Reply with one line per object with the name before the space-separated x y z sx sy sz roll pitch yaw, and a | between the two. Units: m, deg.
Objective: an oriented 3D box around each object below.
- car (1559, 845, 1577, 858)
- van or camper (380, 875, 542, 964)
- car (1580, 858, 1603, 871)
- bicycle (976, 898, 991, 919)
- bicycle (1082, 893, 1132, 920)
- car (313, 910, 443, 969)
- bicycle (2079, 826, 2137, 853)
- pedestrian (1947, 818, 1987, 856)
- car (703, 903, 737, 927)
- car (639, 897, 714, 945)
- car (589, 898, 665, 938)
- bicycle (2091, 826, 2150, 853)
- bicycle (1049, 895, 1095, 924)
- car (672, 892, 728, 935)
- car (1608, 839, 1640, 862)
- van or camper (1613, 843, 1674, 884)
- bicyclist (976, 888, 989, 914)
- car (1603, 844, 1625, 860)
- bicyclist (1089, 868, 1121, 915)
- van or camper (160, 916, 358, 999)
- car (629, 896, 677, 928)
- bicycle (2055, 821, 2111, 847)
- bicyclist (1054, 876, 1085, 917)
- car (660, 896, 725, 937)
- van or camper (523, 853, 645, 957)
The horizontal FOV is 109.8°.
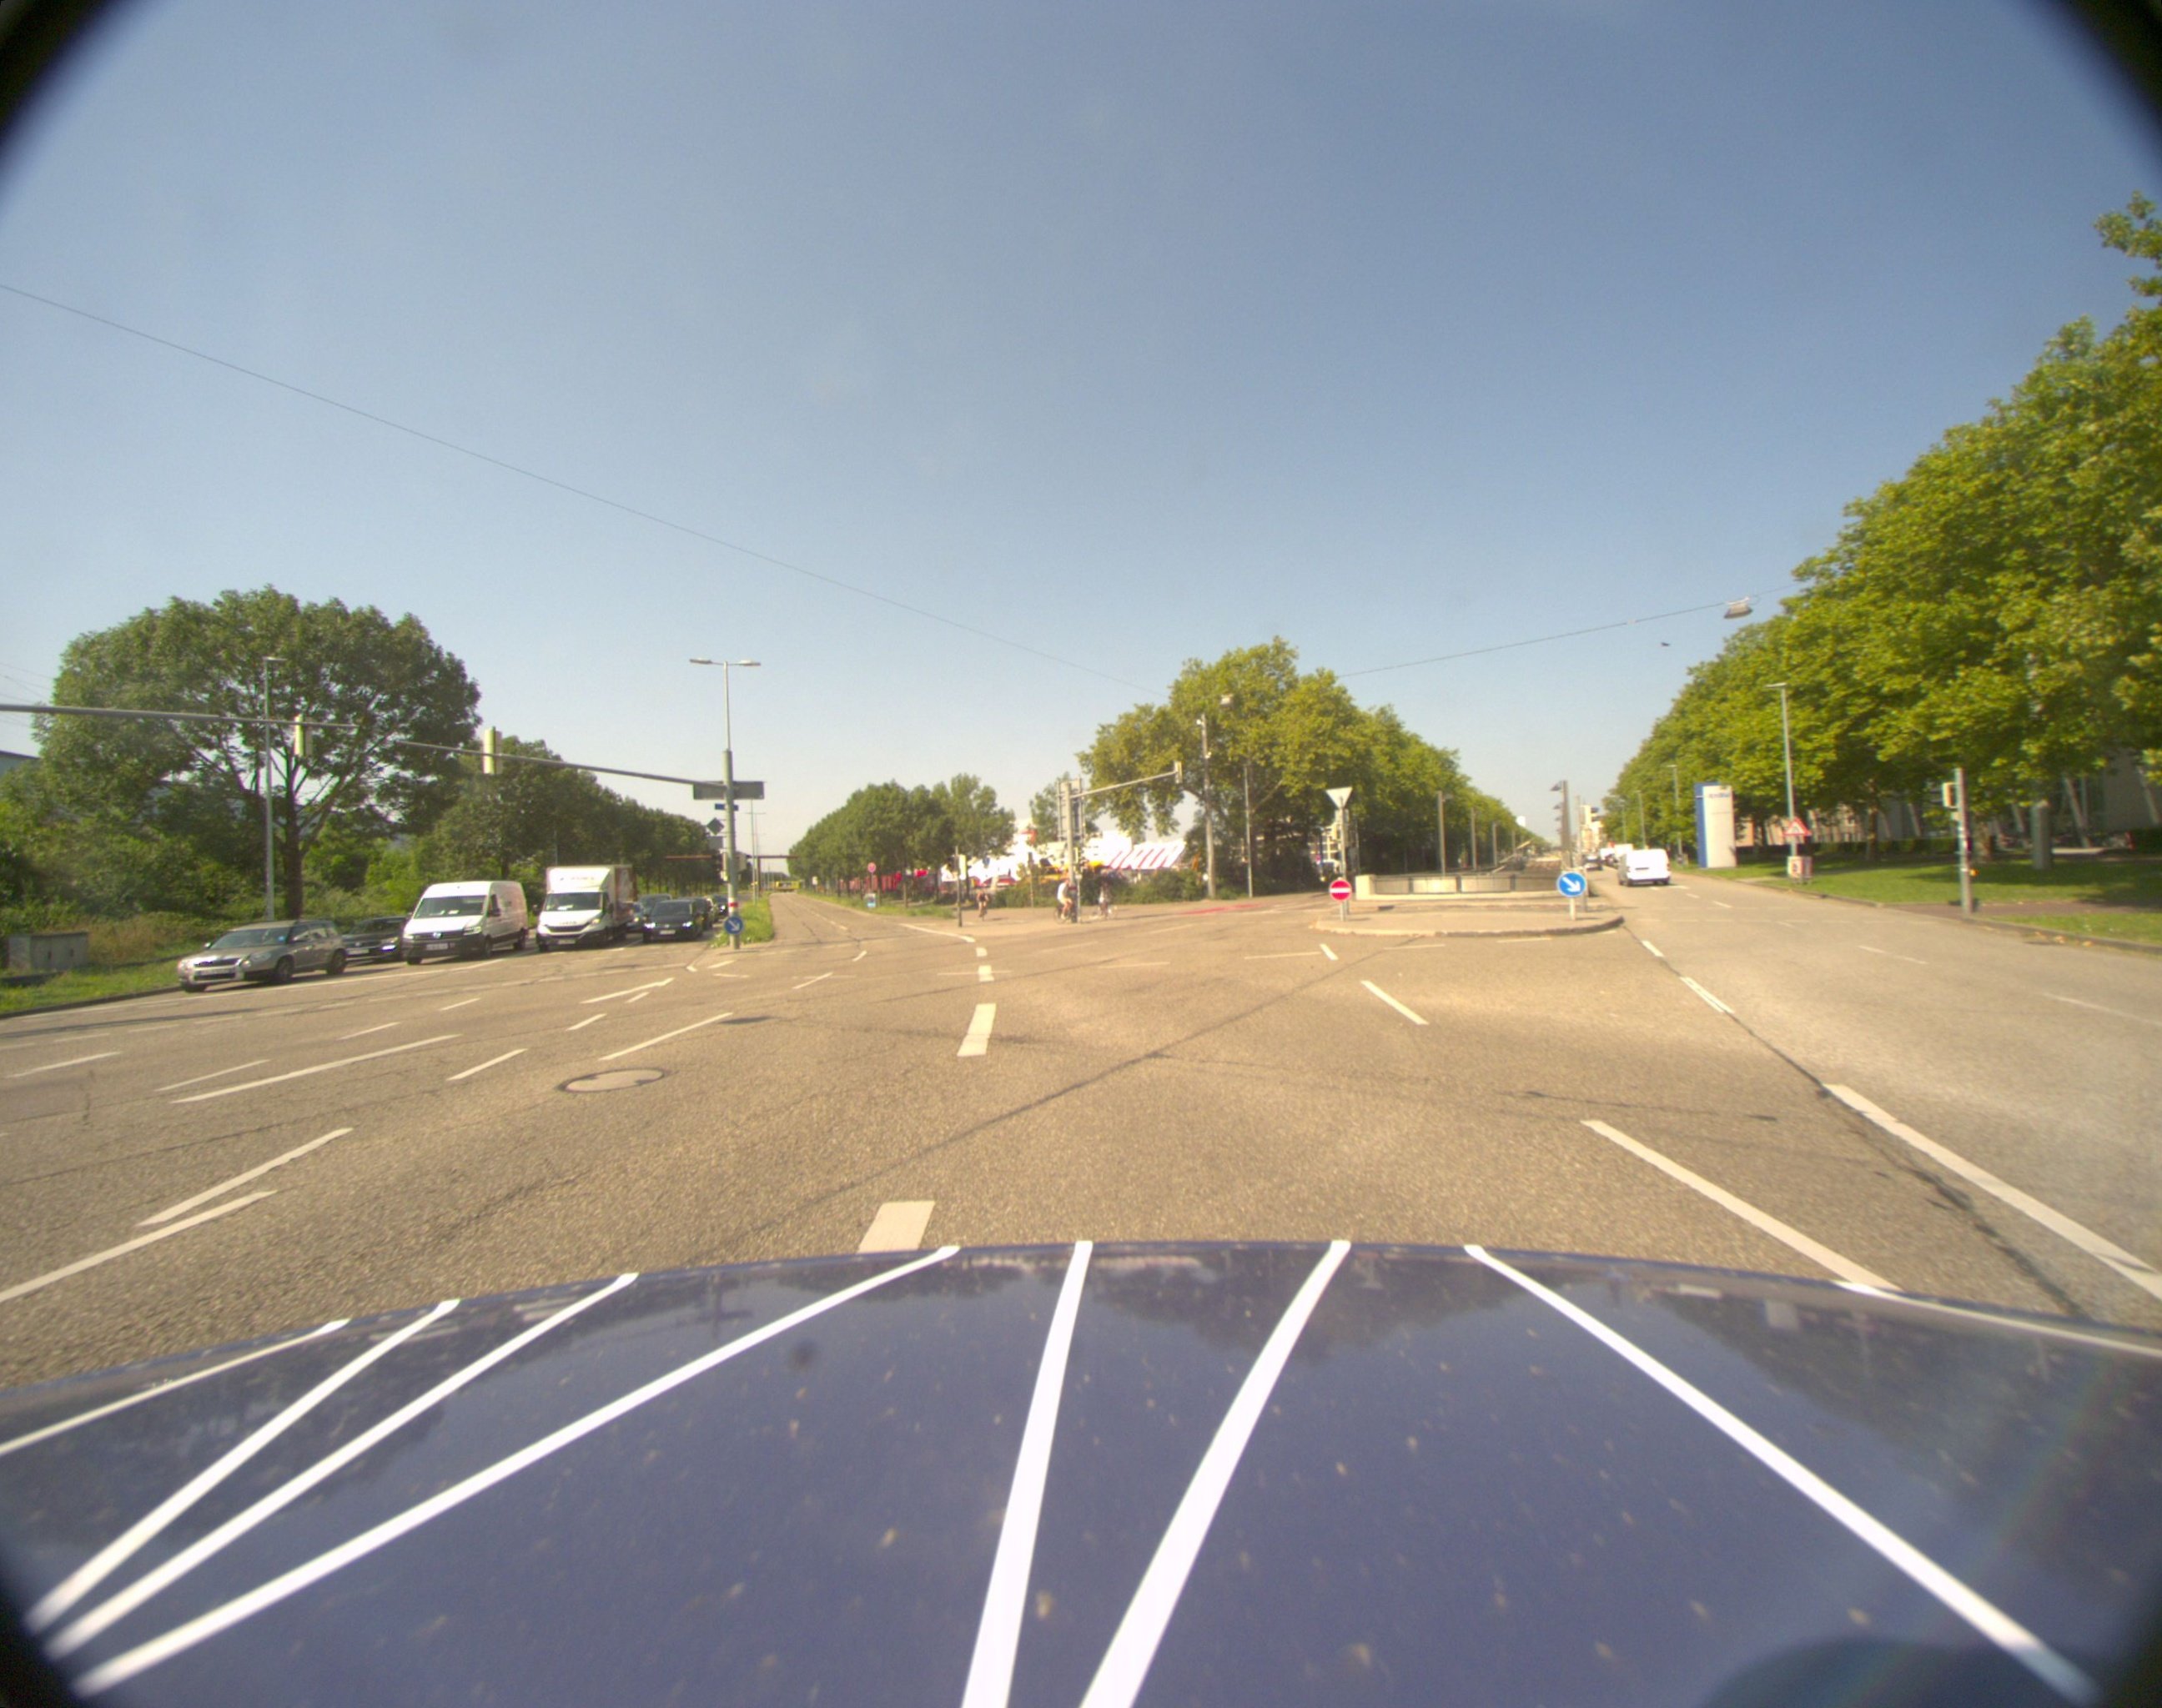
car | 84.083 -0.373 131.177 1.996 2.001 4.007 -6 -3 27
van or camper | -20.737 2.174 25.885 2.251 2.467 6.857 -4 -3 -22
car | 54.741 1.148 81.529 1.658 1.213 3.902 -6 -3 30
bicycle | -5.255 2.946 40.970 0.572 1.049 1.494 -4 -2 -1
bicycle | 1.102 2.284 33.037 0.774 1.081 2.258 -5 -1 -40
car | -23.859 2.848 25.994 2.002 1.543 3.993 -4 0 -24
bicycle | 68.490 -0.959 50.671 2.165 1.545 0.602 -6 -2 25
pedestrian | 48.960 -0.938 41.998 0.947 2.001 1.351 -6 -3 34
car | -23.723 4.022 50.026 1.658 1.389 3.750 -4 -2 -22
car | -16.234 2.675 30.754 1.908 1.603 5.190 -4 -3 -20
car | -21.824 3.062 36.745 2.168 1.599 4.969 -4 -3 -20
bicycle | 68.150 -0.925 49.834 2.165 1.545 0.602 -6 -2 25
bicycle | -0.388 2.269 31.117 0.774 1.081 2.215 -3 -2 -34
car | -22.354 3.489 44.823 2.251 2.247 5.218 -4 -3 -20
car | 59.420 -0.356 83.222 2.288 2.219 4.665 -6 -3 31
van or camper | 29.879 0.555 40.485 1.842 1.935 4.958 -4 -3 29
bicyclist | -5.303 2.528 41.083 0.502 1.356 0.697 -5 -2 0
car | 80.973 -0.307 115.527 2.288 2.066 4.665 -6 -3 31
bicyclist | 1.047 1.640 33.092 0.599 2.001 1.202 -3 -2 -39
van or camper | -21.347 2.602 20.005 1.853 1.765 4.169 -4 -3 -22
car | -25.168 3.408 44.780 1.658 1.654 3.752 -4 -3 -17
bicycle | 68.306 -1.337 51.831 2.165 1.545 0.602 -6 -2 25
bicyclist | -0.490 1.750 31.255 0.599 1.584 1.202 -3 -3 -34
car | -19.174 3.068 37.741 2.148 1.729 5.218 -4 -3 -20
van or camper | -18.678 1.928 28.990 2.251 3.341 6.843 -4 -3 -20
